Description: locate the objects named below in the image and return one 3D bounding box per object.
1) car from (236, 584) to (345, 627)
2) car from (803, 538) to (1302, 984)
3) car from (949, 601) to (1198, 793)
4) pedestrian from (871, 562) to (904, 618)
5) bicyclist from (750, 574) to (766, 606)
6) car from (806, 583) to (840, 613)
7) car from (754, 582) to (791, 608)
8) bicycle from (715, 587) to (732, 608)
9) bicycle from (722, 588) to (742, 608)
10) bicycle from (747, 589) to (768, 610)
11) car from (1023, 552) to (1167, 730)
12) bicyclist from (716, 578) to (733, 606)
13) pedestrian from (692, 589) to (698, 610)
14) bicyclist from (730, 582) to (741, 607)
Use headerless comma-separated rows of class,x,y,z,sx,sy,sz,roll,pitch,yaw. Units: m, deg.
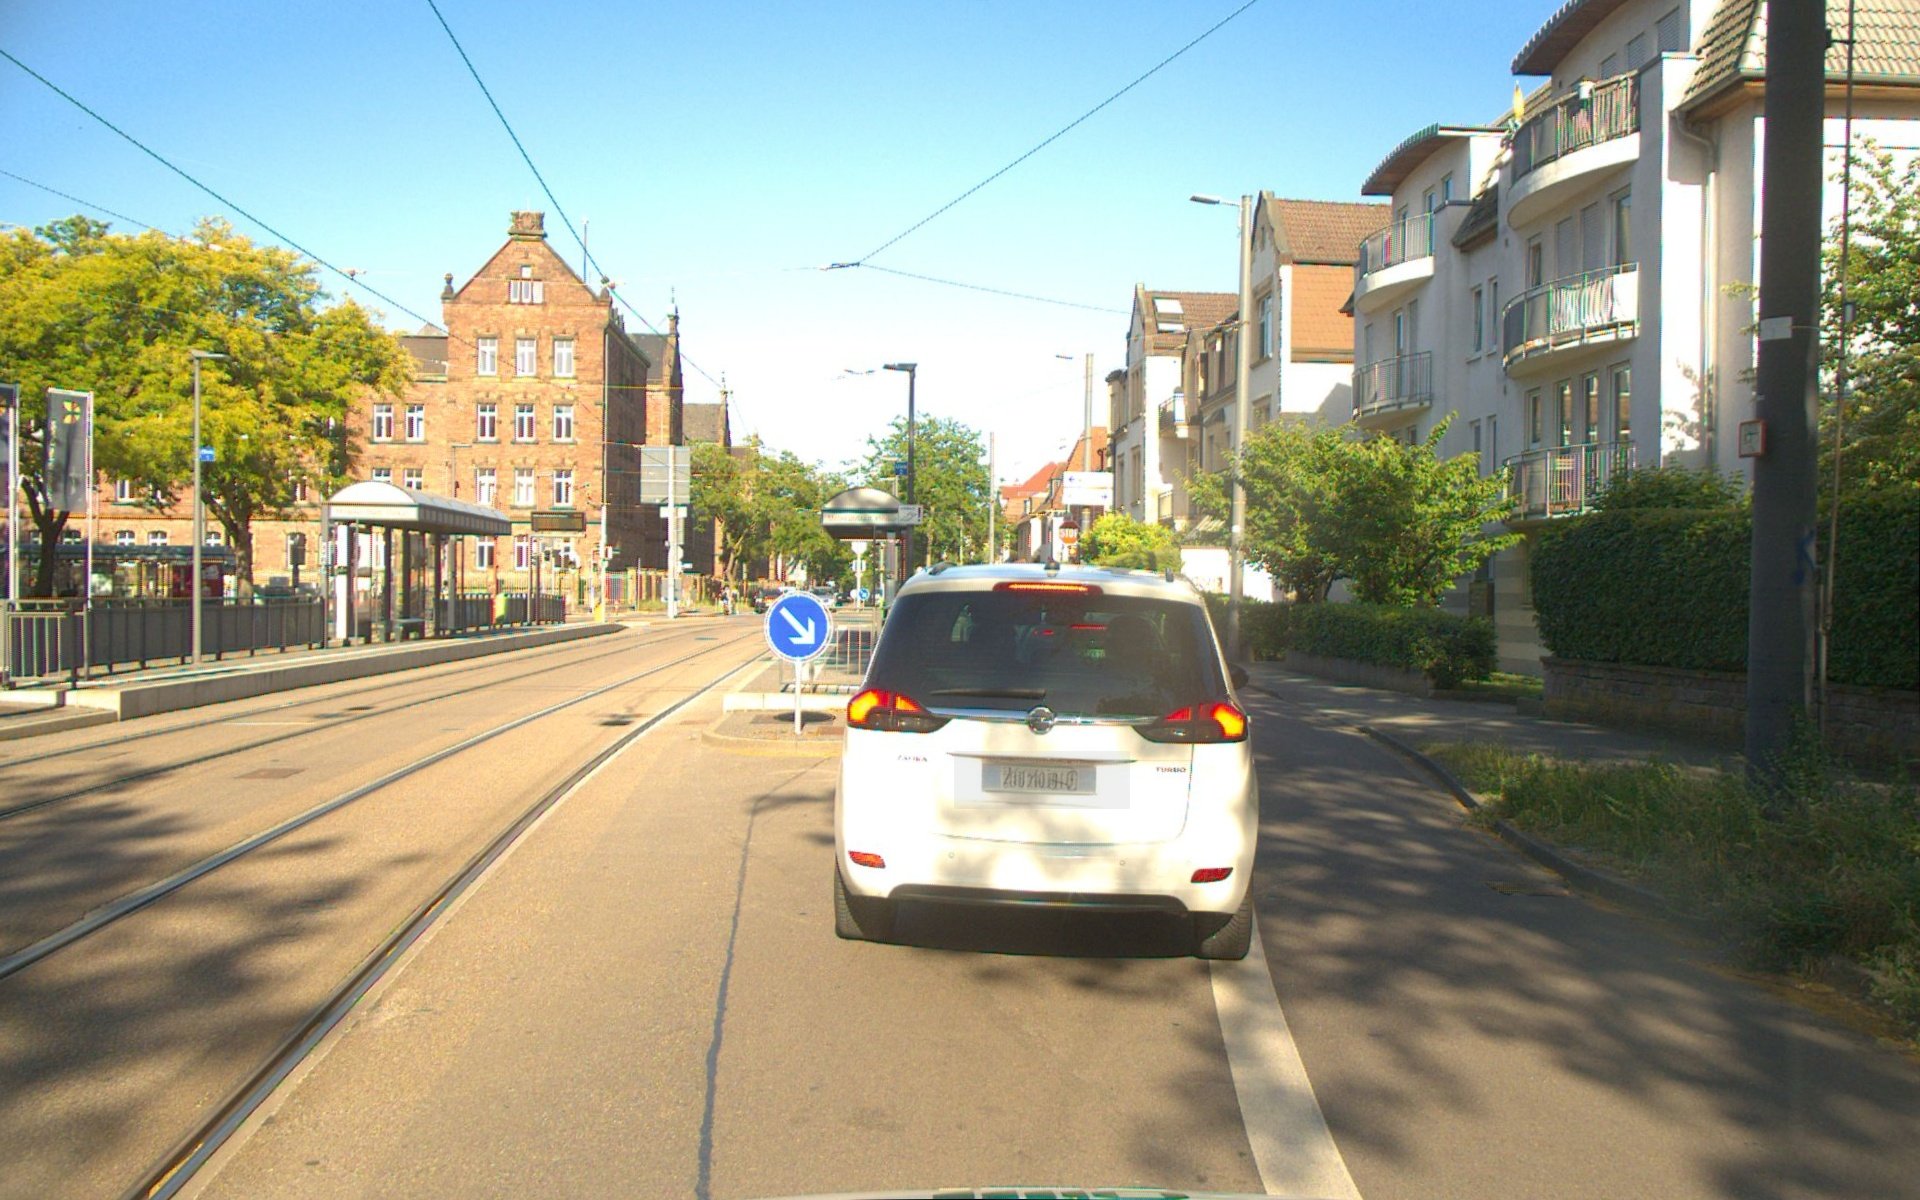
car,-28.486,0.239,70.484,3.911,1.821,1.997,0,0,-7
car,0.530,0.647,8.281,1.852,1.639,4.231,0,-2,5
car,1.116,0.754,14.950,1.951,1.468,4.003,0,0,7
pedestrian,-2.691,-0.370,61.430,1.134,2.048,1.118,0,2,-8
bicyclist,-12.931,-0.646,105.926,0.932,2.049,0.822,0,0,-6
car,-8.920,-0.121,107.735,1.953,1.947,3.998,0,0,-2
car,-12.950,-0.372,114.169,1.952,1.752,4.001,0,0,2
bicycle,-14.718,-0.174,103.027,0.805,1.319,2.675,0,0,-4
bicycle,-15.115,-0.139,109.553,1.125,1.319,2.858,0,0,-4
bicycle,-12.966,-0.016,105.929,1.125,1.319,2.858,0,0,-4
car,1.794,0.466,21.099,1.672,2.049,3.909,0,0,7
bicyclist,-14.719,-0.507,103.315,0.925,1.765,0.860,0,0,-3
pedestrian,-18.641,-0.006,116.469,0.354,1.463,0.549,0,0,-1
bicyclist,-14.861,-0.344,109.472,0.688,1.635,0.657,0,0,-3
